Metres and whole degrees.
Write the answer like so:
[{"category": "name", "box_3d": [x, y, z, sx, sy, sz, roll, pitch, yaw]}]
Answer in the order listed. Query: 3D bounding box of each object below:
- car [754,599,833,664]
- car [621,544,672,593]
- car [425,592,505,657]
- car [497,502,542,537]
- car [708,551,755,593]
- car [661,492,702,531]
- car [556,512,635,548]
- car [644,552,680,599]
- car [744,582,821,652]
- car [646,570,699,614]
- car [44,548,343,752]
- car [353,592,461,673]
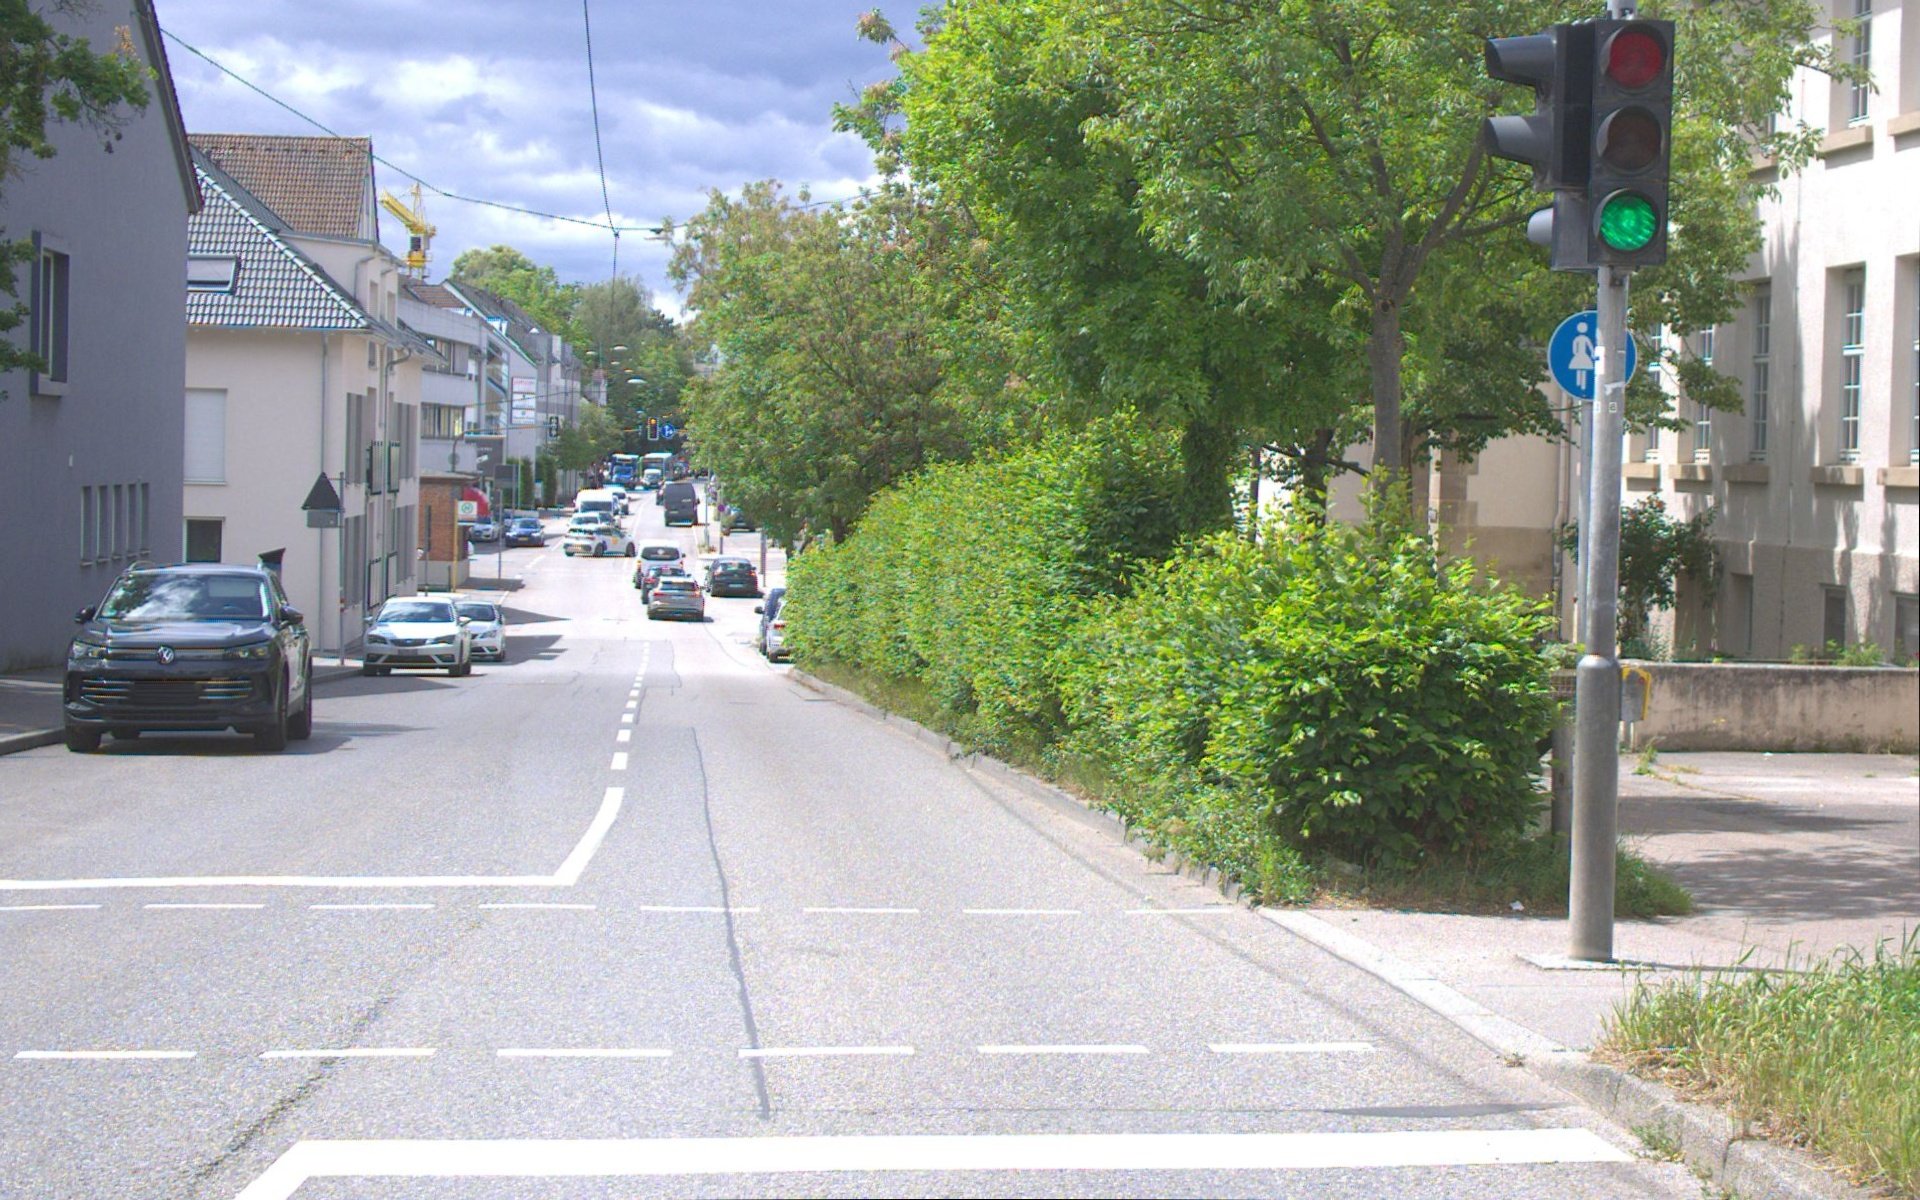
[{"category": "car", "box_3d": [-4.261, 0.781, 87.328, 1.786, 1.504, 4.365, 2, 0, -5]}, {"category": "car", "box_3d": [-12.457, -1.261, 136.747, 1.836, 1.855, 3.851, 2, 1, -4]}, {"category": "car", "box_3d": [-11.734, 0.570, 81.618, 1.647, 1.414, 3.699, 2, 0, -5]}, {"category": "car", "box_3d": [-22.440, -4.088, 175.293, 1.873, 1.634, 4.000, 3, 0, -3]}, {"category": "car", "box_3d": [-8.855, -1.106, 133.495, 1.752, 1.366, 4.001, 2, 3, -4]}, {"category": "car", "box_3d": [-17.626, -5.613, 217.209, 2.436, 2.310, 5.327, 3, 1, -5]}, {"category": "car", "box_3d": [-17.309, -3.325, 163.597, 1.785, 1.487, 3.994, 3, 0, 27]}, {"category": "car", "box_3d": [-10.979, -0.923, 126.502, 1.273, 1.522, 3.051, 1, 4, -6]}, {"category": "car", "box_3d": [-4.815, 0.443, 92.777, 1.844, 1.761, 4.516, 2, 0, -5]}, {"category": "car", "box_3d": [-9.823, -0.287, 117.444, 1.744, 1.412, 4.001, 1, 1, -5]}, {"category": "car", "box_3d": [-6.641, 0.371, 30.252, 1.795, 1.605, 4.646, 2, 1, -3]}, {"category": "car", "box_3d": [-10.272, 0.590, 63.657, 1.697, 1.385, 3.867, 1, 1, -13]}]
